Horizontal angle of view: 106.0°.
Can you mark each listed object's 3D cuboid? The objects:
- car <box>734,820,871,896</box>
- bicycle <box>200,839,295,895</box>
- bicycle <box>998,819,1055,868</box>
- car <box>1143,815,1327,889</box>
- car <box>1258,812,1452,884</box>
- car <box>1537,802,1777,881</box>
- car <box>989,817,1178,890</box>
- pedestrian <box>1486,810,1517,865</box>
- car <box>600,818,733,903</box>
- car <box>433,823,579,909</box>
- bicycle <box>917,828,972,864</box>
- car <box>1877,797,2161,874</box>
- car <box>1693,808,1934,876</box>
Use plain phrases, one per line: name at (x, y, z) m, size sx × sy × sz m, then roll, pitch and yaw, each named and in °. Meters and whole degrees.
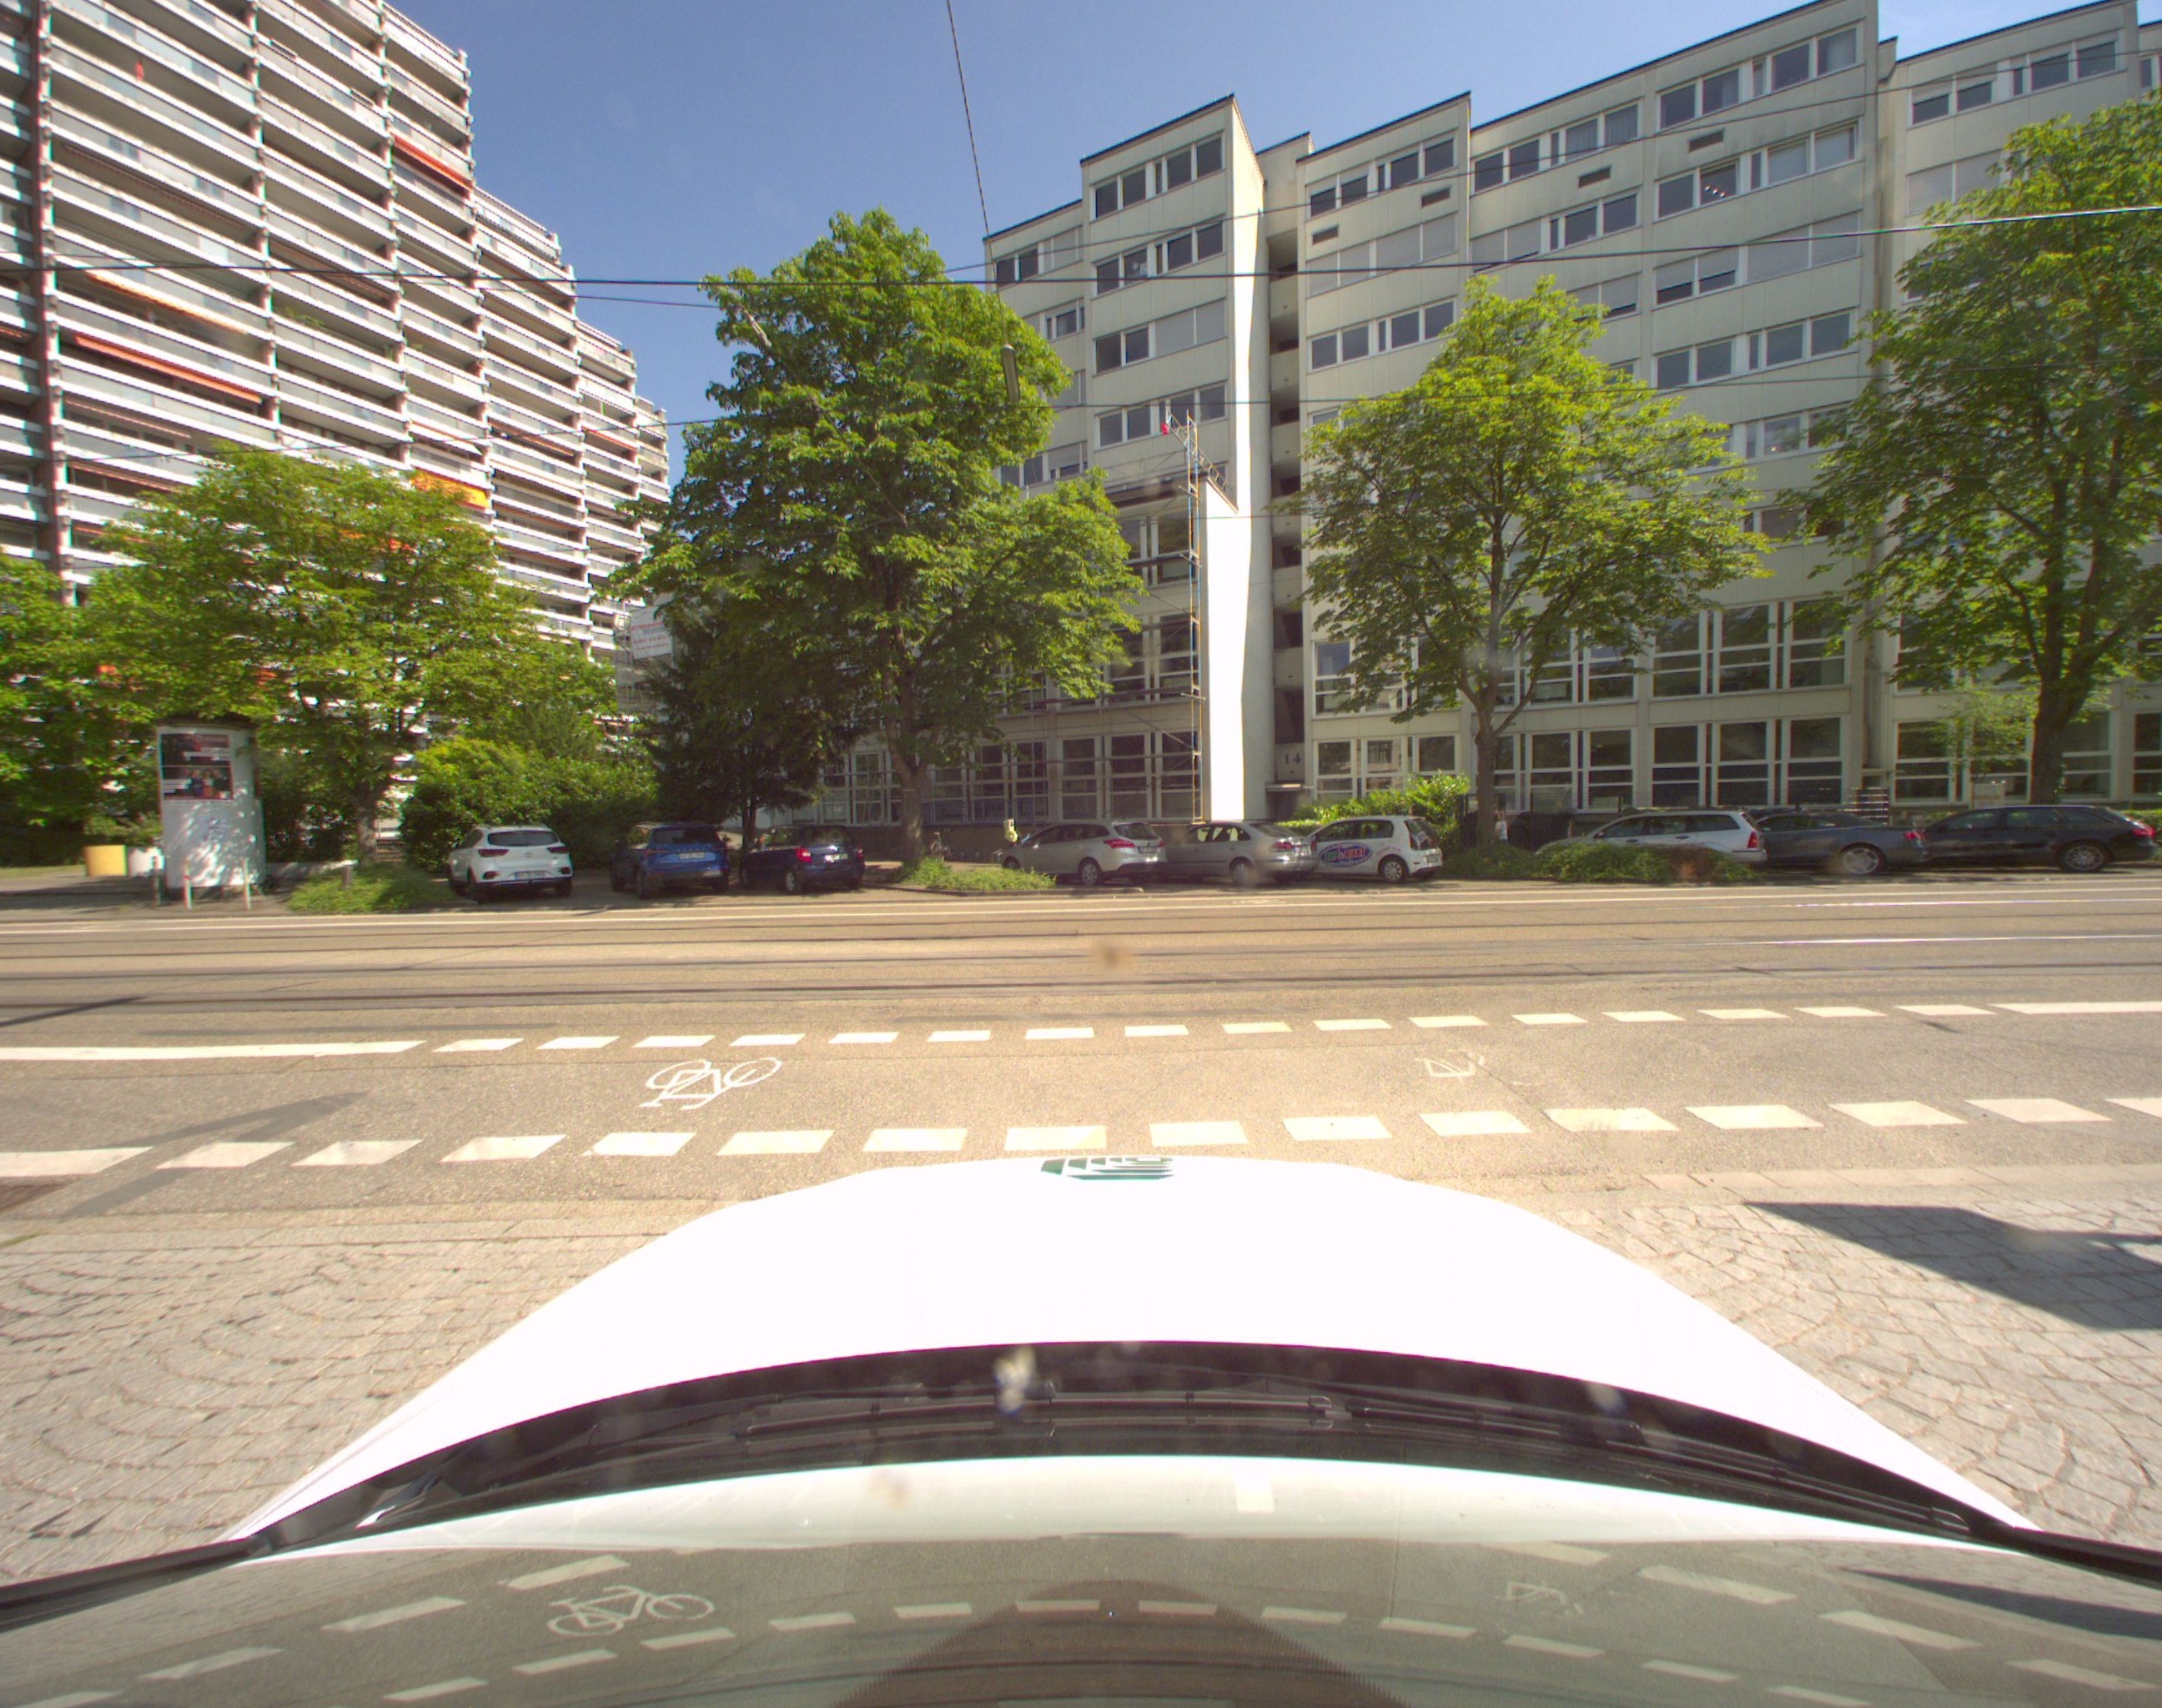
car at (-6.347, 0.029, 18.413) m, size 1.586 × 1.530 × 3.416 m, roll -3°, pitch 3°, yaw -44°
bicycle at (-20.357, 0.305, 19.905) m, size 1.613 × 1.308 × 0.546 m, roll -1°, pitch 2°, yaw -5°
bicycle at (-1.671, -0.342, 25.357) m, size 0.655 × 1.453 × 2.104 m, roll 0°, pitch 2°, yaw 32°
car at (3.388, -0.088, 18.471) m, size 1.622 × 1.485 × 3.898 m, roll -3°, pitch 3°, yaw -42°
car at (6.188, -0.148, 18.681) m, size 1.622 × 1.486 × 3.897 m, roll -3°, pitch 2°, yaw -43°
car at (12.984, -0.302, 18.536) m, size 4.290 × 1.604 × 1.568 m, roll 1°, pitch 2°, yaw 43°
car at (-0.054, -0.066, 18.845) m, size 1.795 × 1.485 × 4.381 m, roll -3°, pitch 3°, yaw -44°
pedestrian at (11.437, -0.460, 22.176) m, size 0.618 × 1.460 × 0.424 m, roll -1°, pitch 2°, yaw -2°
car at (-9.431, 0.043, 18.410) m, size 1.790 × 1.622 × 3.900 m, roll -4°, pitch 5°, yaw -40°
car at (-12.887, 0.186, 18.179) m, size 3.896 × 1.605 × 1.831 m, roll 1°, pitch 5°, yaw 44°
bicycle at (-4.368, -0.272, 26.306) m, size 0.735 × 1.085 × 2.214 m, roll 0°, pitch 2°, yaw 19°
car at (19.980, -0.424, 17.629) m, size 1.568 × 1.485 × 3.897 m, roll -3°, pitch 3°, yaw -44°
car at (16.271, -0.297, 18.253) m, size 1.568 × 1.357 × 3.897 m, roll -3°, pitch 3°, yaw -44°
